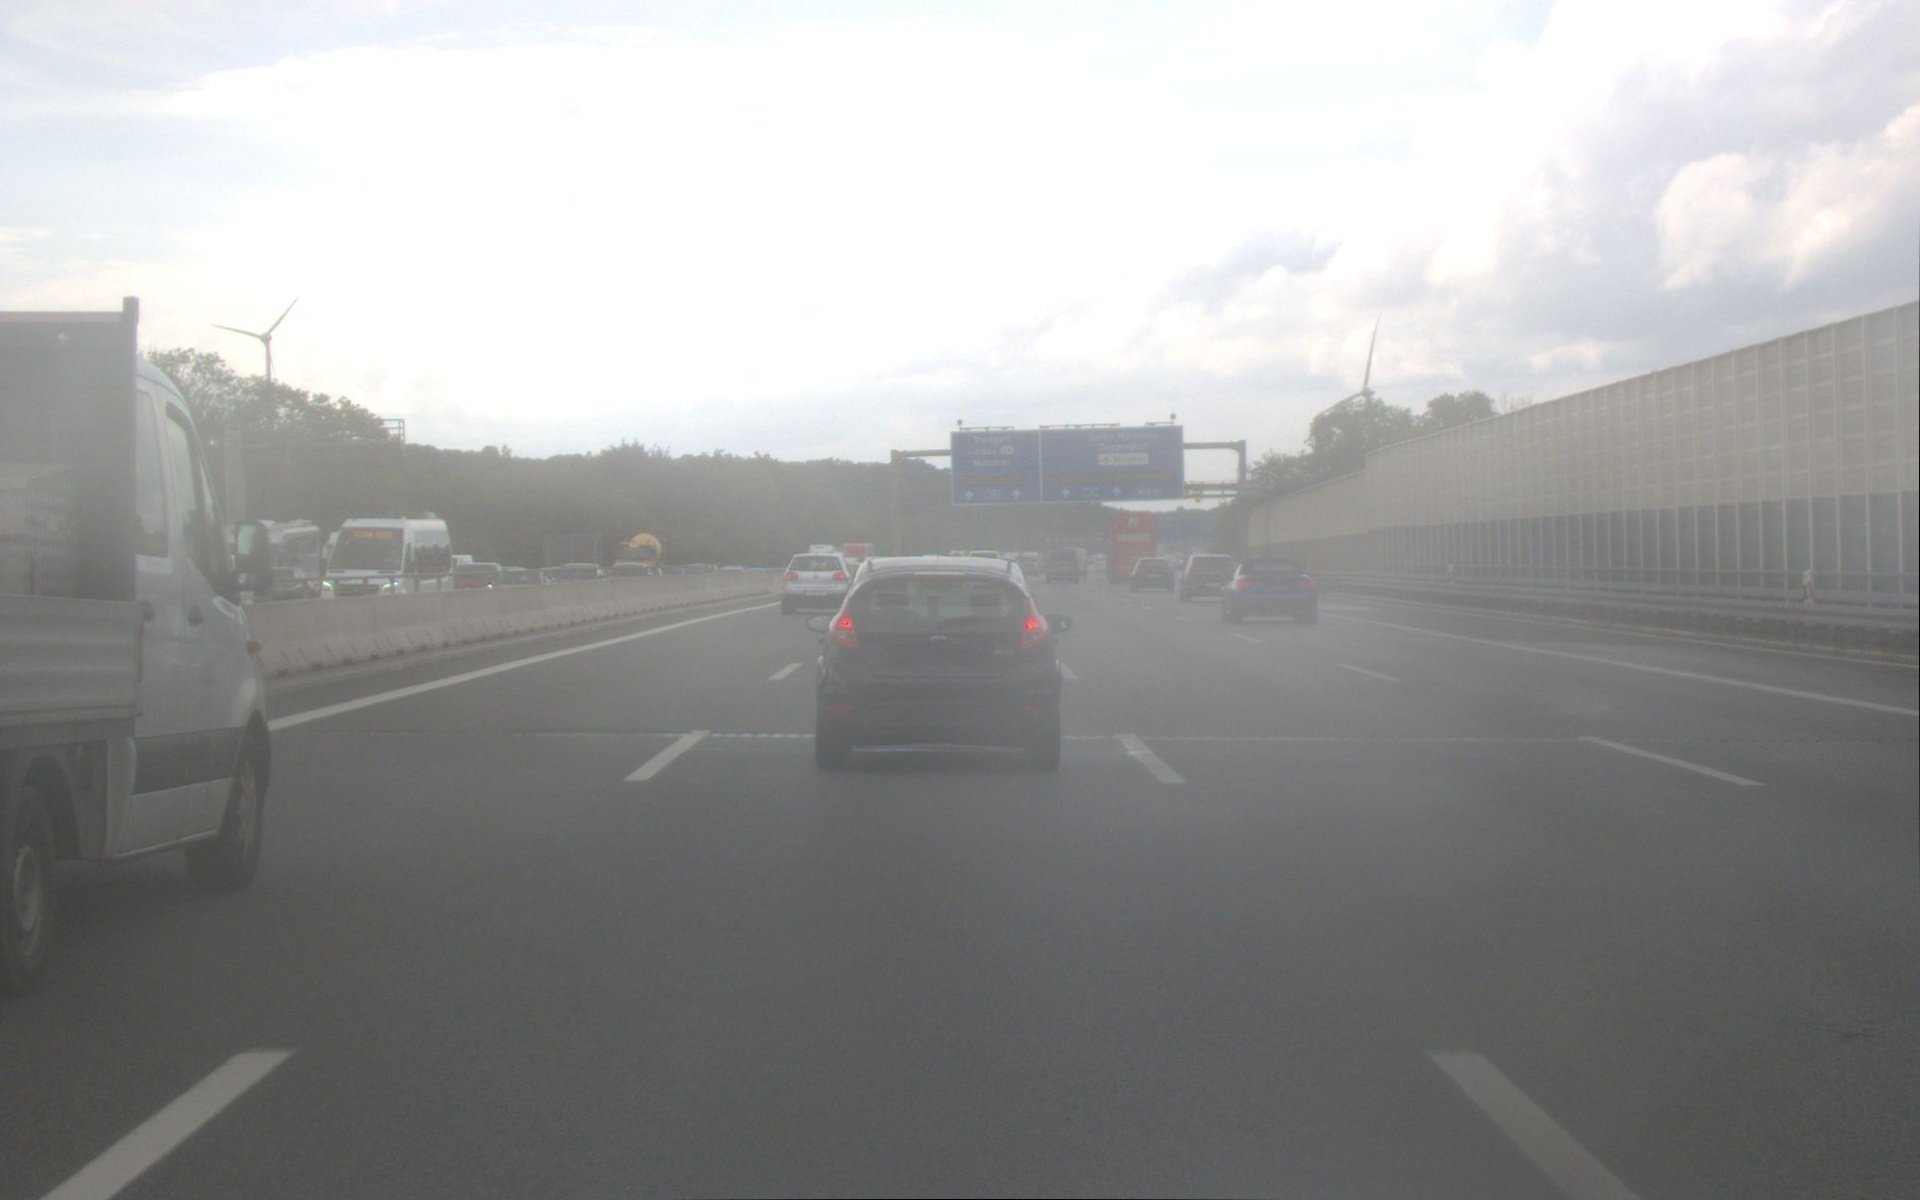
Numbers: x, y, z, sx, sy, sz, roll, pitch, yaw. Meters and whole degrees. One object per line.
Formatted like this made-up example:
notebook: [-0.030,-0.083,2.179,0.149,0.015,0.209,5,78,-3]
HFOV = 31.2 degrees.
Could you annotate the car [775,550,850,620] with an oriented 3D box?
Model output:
car: [-3.616,-0.391,84.617,1.717,1.618,4.279,0,2,-1]

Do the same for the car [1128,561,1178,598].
car: [8.302,-0.876,148.138,1.882,1.555,4.433,-1,0,0]

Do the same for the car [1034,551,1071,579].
car: [5.234,-1.993,195.640,1.968,1.555,4.433,-1,0,0]

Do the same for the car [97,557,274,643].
car: [-14.390,-0.029,64.212,2.060,1.529,5.470,0,1,0]

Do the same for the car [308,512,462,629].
car: [-14.536,-0.827,87.538,2.231,2.740,9.164,0,2,1]

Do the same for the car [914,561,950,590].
car: [-1.575,-1.389,194.123,1.968,1.555,4.433,-1,0,0]

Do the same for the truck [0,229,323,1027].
truck: [-4.157,0.016,13.168,2.306,2.431,7.149,0,1,-2]

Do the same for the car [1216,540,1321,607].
car: [6.656,-0.576,74.608,1.950,1.413,4.232,0,1,1]

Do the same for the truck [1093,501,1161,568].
truck: [9.353,-3.690,193.442,3.152,3.589,12.700,1,1,0]

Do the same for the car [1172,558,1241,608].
car: [7.931,-0.548,110.884,1.882,1.537,4.433,-1,0,0]

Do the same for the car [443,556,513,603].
car: [-17.536,-0.752,125.230,1.723,1.640,4.519,1,0,2]

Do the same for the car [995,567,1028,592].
car: [3.352,-1.341,225.040,1.968,1.555,4.433,-1,0,-1]

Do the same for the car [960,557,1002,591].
car: [0.980,-1.231,162.478,1.968,1.555,4.433,-1,0,0]

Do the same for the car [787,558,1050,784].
car: [-0.269,0.436,24.593,1.717,1.412,4.279,0,2,0]
